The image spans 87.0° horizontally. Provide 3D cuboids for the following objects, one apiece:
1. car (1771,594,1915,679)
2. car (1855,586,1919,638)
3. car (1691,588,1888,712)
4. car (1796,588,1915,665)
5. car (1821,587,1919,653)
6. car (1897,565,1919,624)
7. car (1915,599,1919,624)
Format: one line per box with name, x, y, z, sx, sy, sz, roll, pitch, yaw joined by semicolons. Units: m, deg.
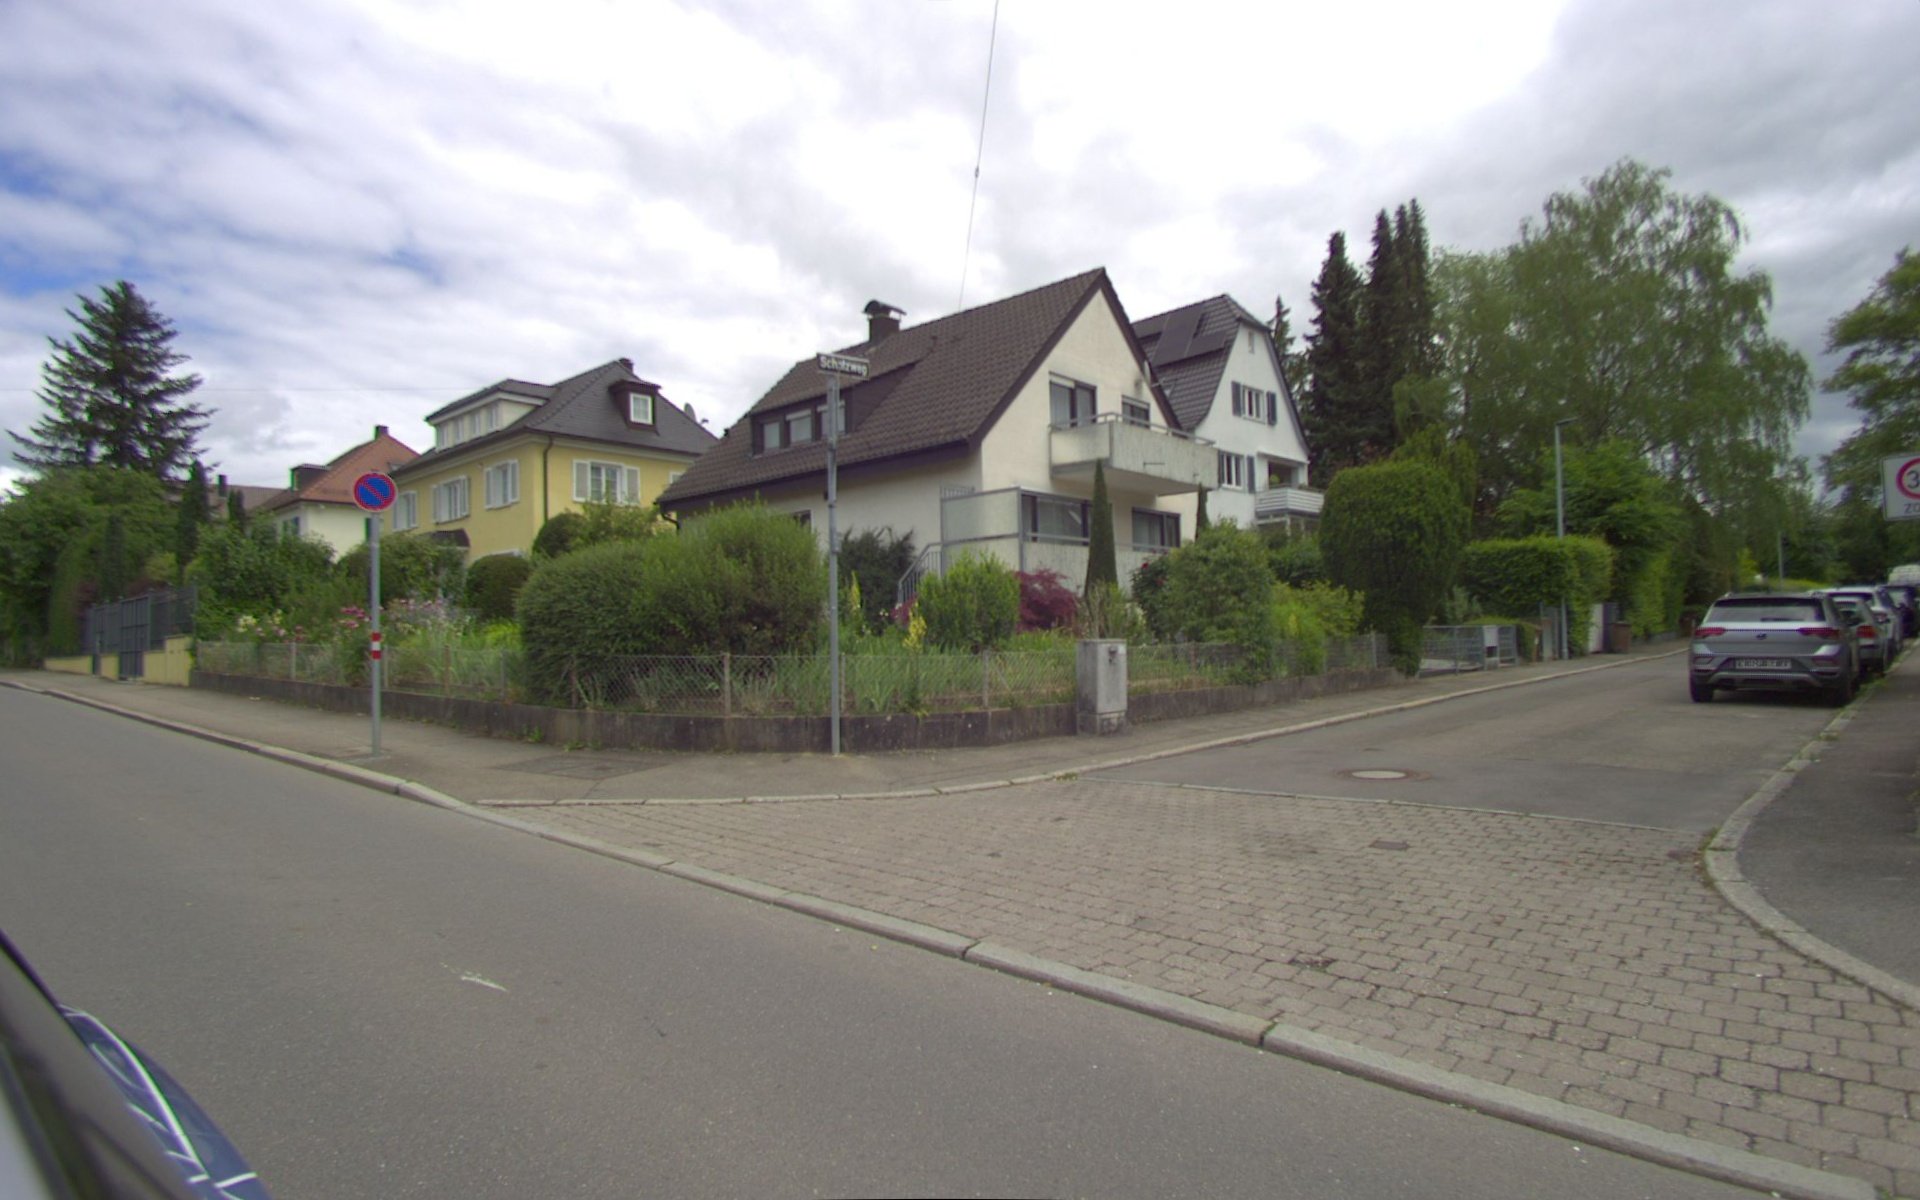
car;16.418;0.625;18.762;3.776;1.419;1.742;0;-1;-45
car;31.240;0.396;33.741;3.941;1.652;1.848;0;-1;-45
car;12.142;0.650;14.721;3.941;1.557;1.808;0;-1;-45
car;20.280;0.560;22.871;3.821;1.585;1.771;0;-1;-45
car;23.751;0.500;26.296;3.839;1.598;1.787;0;-1;-45
car;48.136;-0.273;50.396;3.941;2.876;1.972;0;-1;-45
car;71.458;0.765;72.609;1.786;1.807;4.008;0;-1;-37
